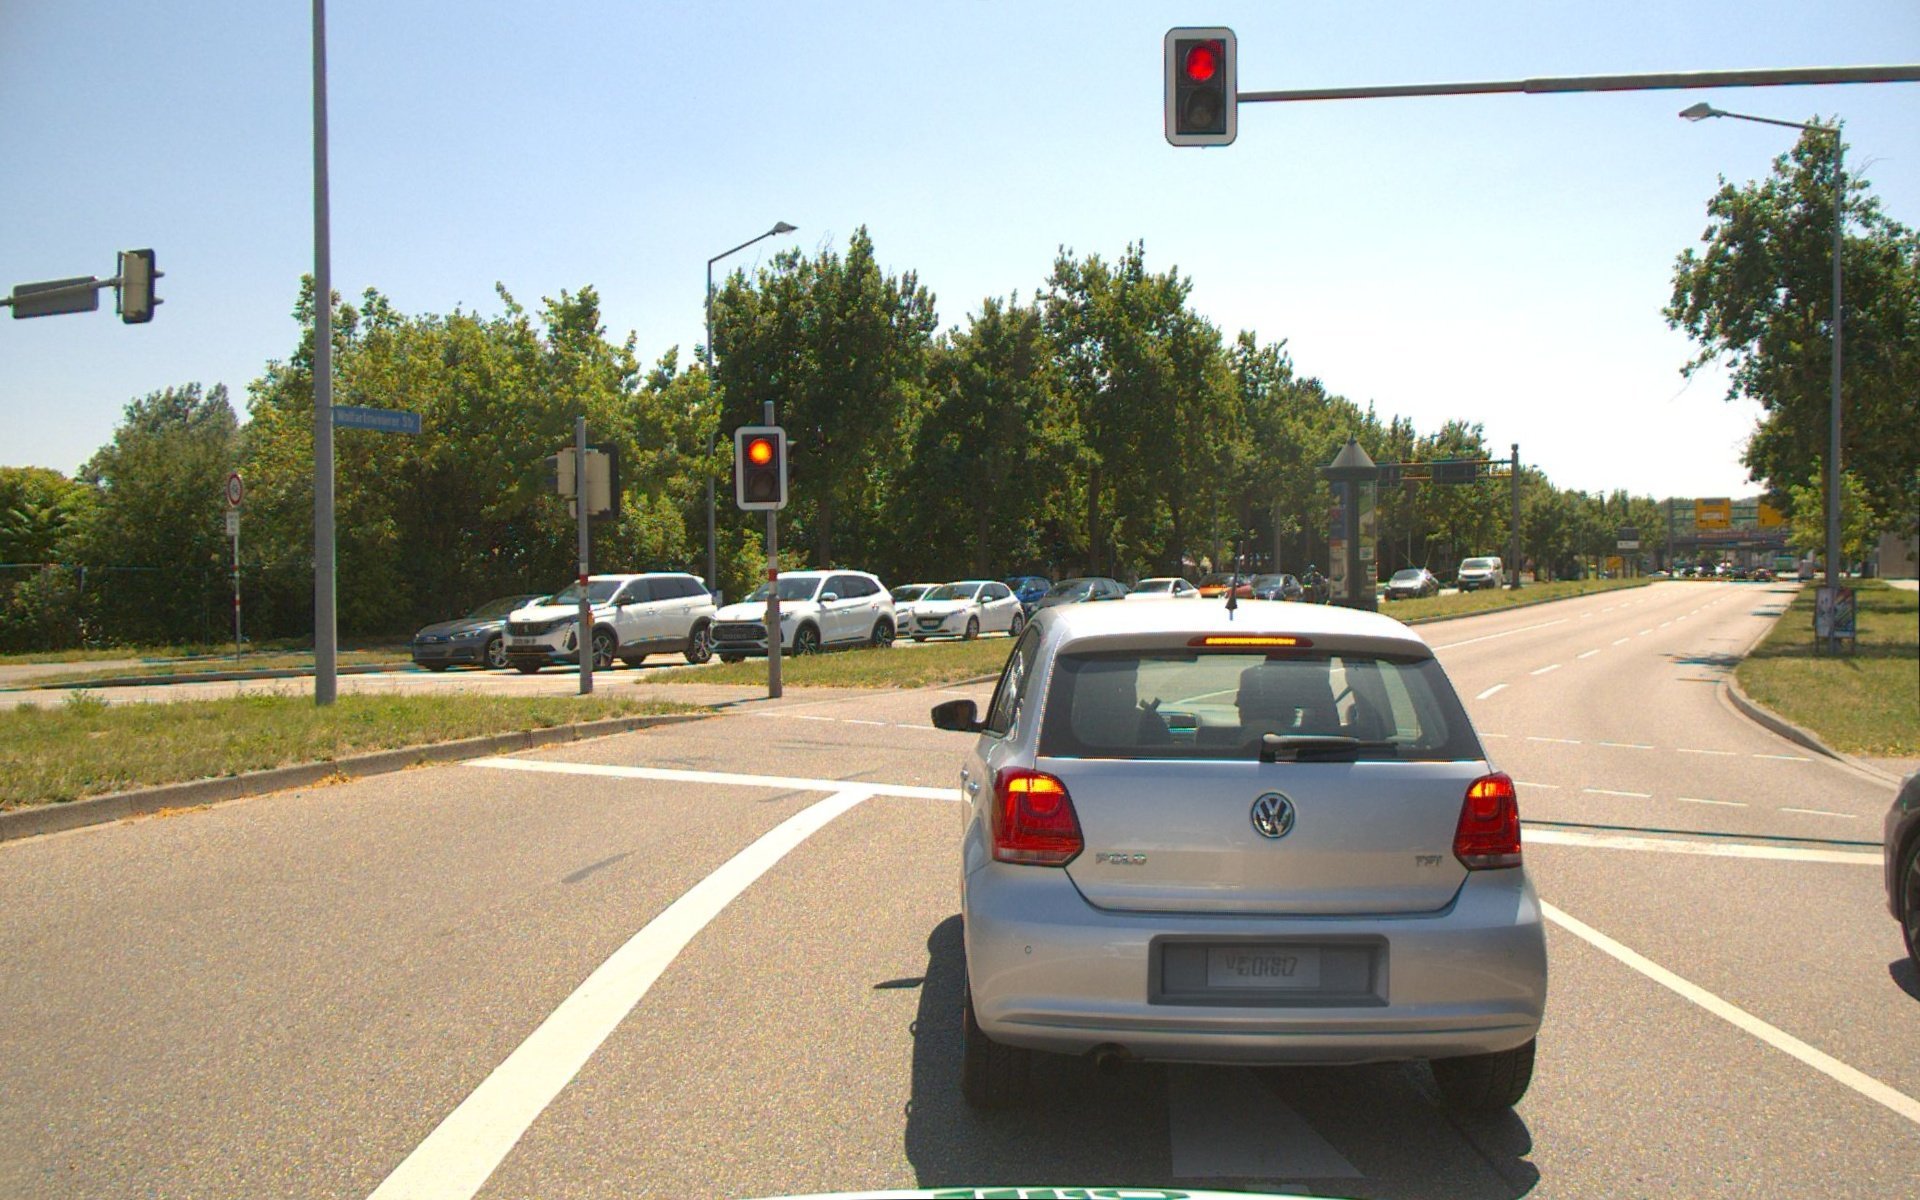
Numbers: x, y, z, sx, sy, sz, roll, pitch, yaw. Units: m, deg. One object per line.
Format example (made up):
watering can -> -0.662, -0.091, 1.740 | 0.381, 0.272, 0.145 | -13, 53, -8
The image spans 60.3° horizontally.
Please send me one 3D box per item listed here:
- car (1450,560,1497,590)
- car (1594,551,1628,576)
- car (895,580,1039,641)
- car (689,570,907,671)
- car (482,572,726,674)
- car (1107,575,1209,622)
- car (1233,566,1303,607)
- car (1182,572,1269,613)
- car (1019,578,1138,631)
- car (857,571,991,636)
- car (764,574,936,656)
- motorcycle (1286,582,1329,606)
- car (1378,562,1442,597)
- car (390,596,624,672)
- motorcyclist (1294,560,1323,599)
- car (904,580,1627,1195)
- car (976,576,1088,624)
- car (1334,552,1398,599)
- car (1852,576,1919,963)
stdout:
car -> 27.799, -1.376, 89.488 | 1.827, 1.582, 3.996 | 0, 1, 27
car -> 46.779, -2.591, 118.786 | 1.766, 1.722, 4.136 | -2, 0, 28
car -> 0.247, 0.225, 42.339 | 1.823, 1.447, 4.402 | 0, 1, 28
car -> -2.863, 0.307, 30.221 | 1.823, 1.712, 4.402 | 0, 1, 28
car -> -6.206, 0.345, 29.360 | 1.823, 1.646, 4.402 | 0, 1, 28
car -> 6.526, -0.086, 54.098 | 1.823, 1.447, 4.402 | 0, 1, 28
car -> 12.092, -0.522, 64.824 | 1.682, 1.500, 3.793 | -2, 0, 27
car -> 9.758, -0.292, 60.559 | 1.823, 1.447, 4.402 | 0, 1, 28
car -> 3.493, 0.086, 48.059 | 1.823, 1.447, 4.402 | 0, 1, 28
car -> -0.945, 0.050, 46.218 | 1.823, 1.712, 4.402 | 0, 1, 28
car -> -2.406, 0.286, 37.385 | 1.823, 1.712, 4.402 | 0, 1, 28
motorcycle -> 14.643, -0.264, 69.633 | 0.879, 0.969, 2.810 | -2, 0, 31
car -> 20.095, -0.930, 73.775 | 1.932, 1.514, 3.995 | 0, 1, 28
car -> -8.610, 0.604, 31.848 | 1.823, 1.292, 4.402 | 0, 1, 28
motorcyclist -> 14.700, -0.866, 69.766 | 0.889, 1.614, 1.008 | -2, -1, 30
car -> 0.878, 0.673, 6.023 | 1.739, 1.447, 4.003 | 0, 1, 4
car -> 2.329, -0.023, 52.586 | 1.823, 1.447, 4.402 | 0, 1, 28
car -> 18.663, -1.105, 75.993 | 1.955, 2.049, 3.995 | -2, 0, 27
car -> 4.498, 0.665, 4.437 | 1.952, 1.443, 4.457 | 0, 1, 2
